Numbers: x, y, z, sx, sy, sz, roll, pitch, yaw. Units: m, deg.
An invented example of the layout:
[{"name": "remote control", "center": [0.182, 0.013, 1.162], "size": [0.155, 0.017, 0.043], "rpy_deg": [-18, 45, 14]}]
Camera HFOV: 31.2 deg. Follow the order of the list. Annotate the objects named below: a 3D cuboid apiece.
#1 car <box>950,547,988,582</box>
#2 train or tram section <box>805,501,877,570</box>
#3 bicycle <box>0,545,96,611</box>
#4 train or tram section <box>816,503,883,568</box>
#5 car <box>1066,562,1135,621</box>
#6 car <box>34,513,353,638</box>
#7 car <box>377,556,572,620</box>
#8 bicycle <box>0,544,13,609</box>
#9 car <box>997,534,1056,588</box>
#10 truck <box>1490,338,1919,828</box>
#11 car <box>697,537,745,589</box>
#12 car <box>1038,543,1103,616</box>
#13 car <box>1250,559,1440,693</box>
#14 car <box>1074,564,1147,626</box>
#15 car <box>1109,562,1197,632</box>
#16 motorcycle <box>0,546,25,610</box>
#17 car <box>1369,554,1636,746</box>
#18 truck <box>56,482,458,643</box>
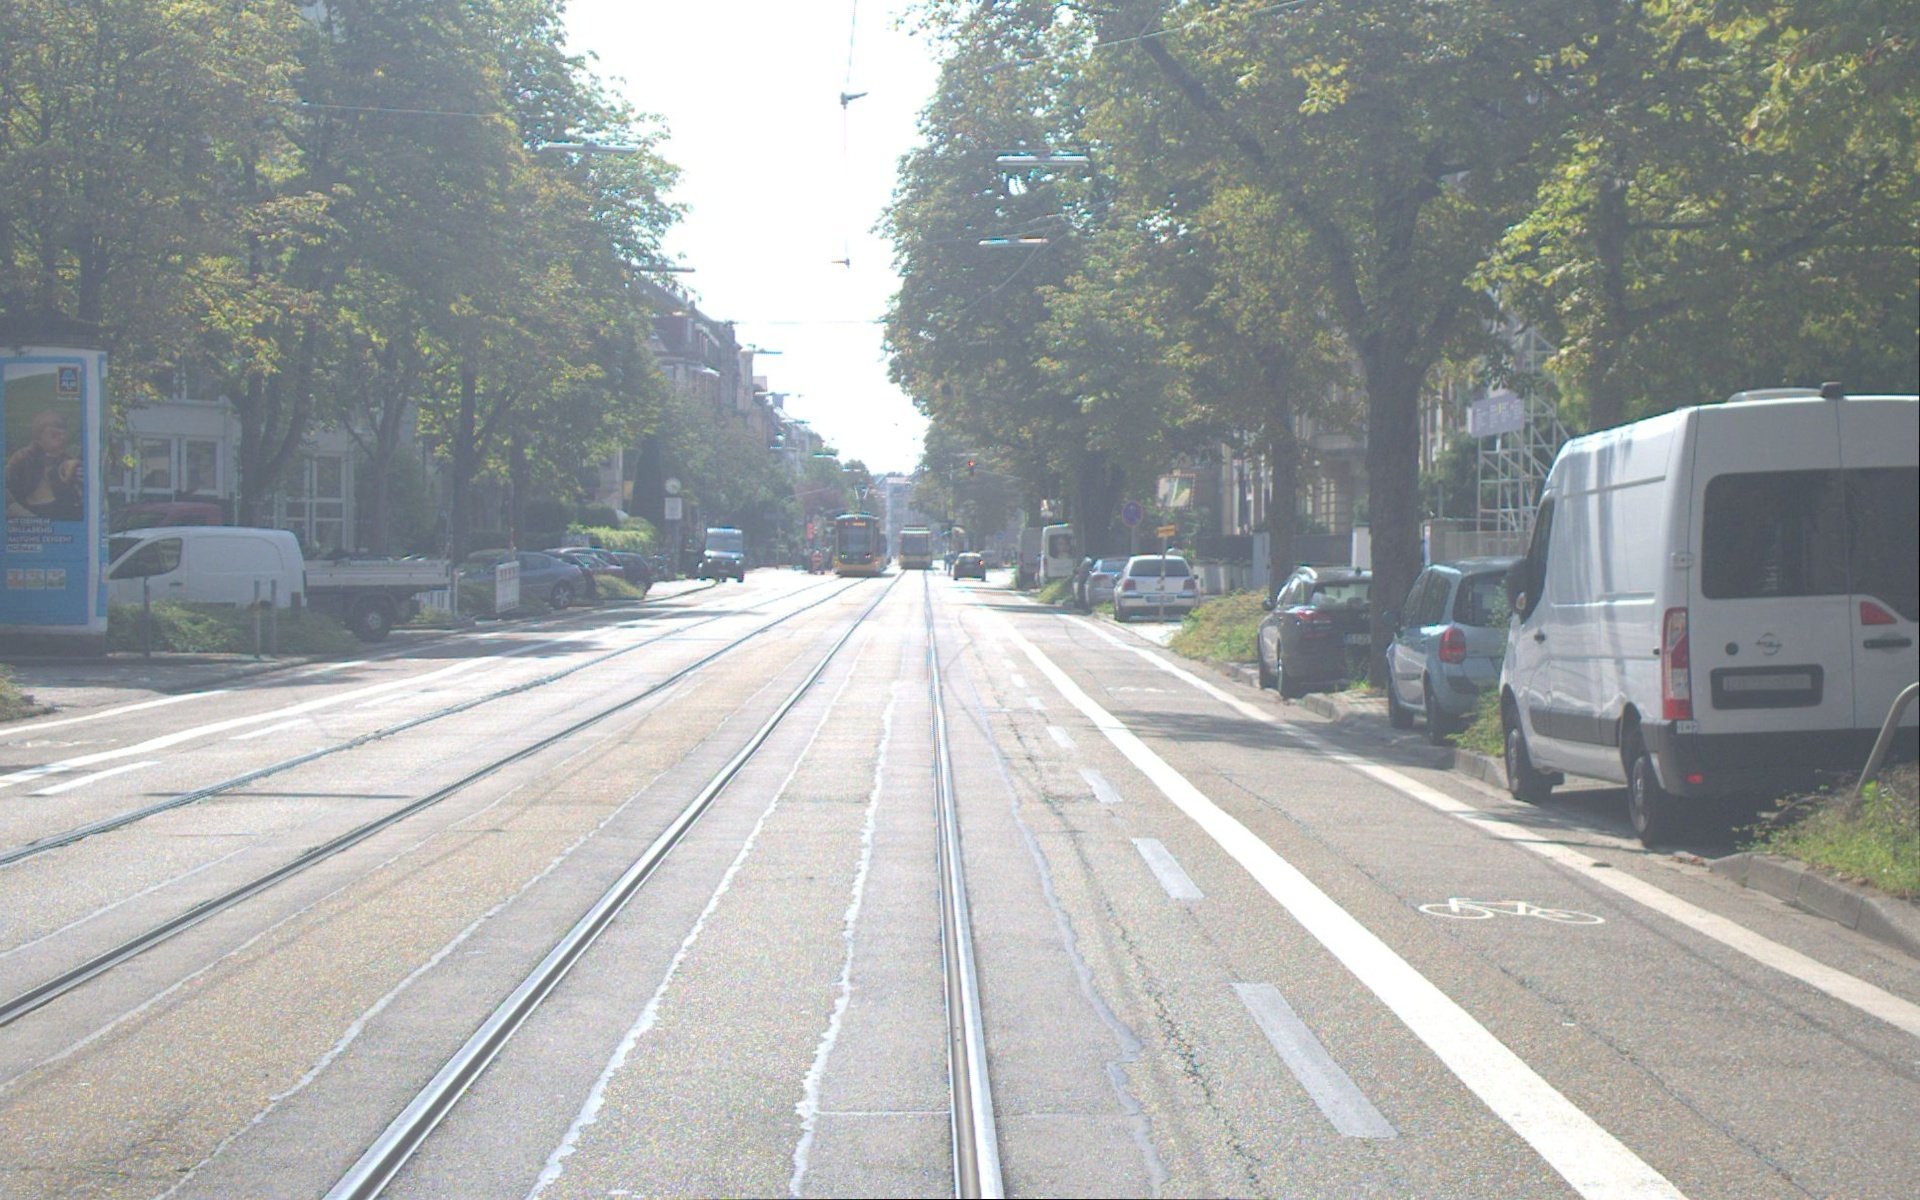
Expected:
[{"name": "car", "center": [0.463, -1.881, 182.014], "size": [1.993, 1.795, 4.000], "rpy_deg": [1, 0, 0]}, {"name": "train or tram section", "center": [-6.636, -3.641, 193.758], "size": [3.497, 3.691, 12.412], "rpy_deg": [1, 1, 0]}, {"name": "bicycle", "center": [-17.406, -0.427, 64.409], "size": [2.340, 1.165, 0.621], "rpy_deg": [2, 0, 18]}, {"name": "train or tram section", "center": [-6.550, -3.876, 206.187], "size": [3.497, 3.691, 12.412], "rpy_deg": [1, 1, 0]}, {"name": "car", "center": [3.790, -0.248, 93.540], "size": [1.794, 1.571, 4.000], "rpy_deg": [0, 1, 1]}, {"name": "car", "center": [-11.302, -0.377, 50.866], "size": [4.274, 1.766, 1.824], "rpy_deg": [-1, 1, -43]}, {"name": "car", "center": [-11.783, -0.322, 83.669], "size": [1.675, 1.447, 4.677], "rpy_deg": [1, 2, 43]}, {"name": "bicycle", "center": [-18.243, -0.464, 61.874], "size": [2.341, 1.165, 0.601], "rpy_deg": [2, 0, 20]}, {"name": "car", "center": [2.745, -1.612, 142.250], "size": [1.993, 2.226, 4.001], "rpy_deg": [0, 1, -5]}, {"name": "truck", "center": [4.726, -0.113, 21.078], "size": [1.916, 2.590, 5.593], "rpy_deg": [1, 0, -2]}, {"name": "car", "center": [-11.459, -1.787, 164.955], "size": [2.242, 2.433, 4.001], "rpy_deg": [1, 1, -4]}, {"name": "car", "center": [3.676, -0.701, 115.272], "size": [1.993, 2.357, 4.000], "rpy_deg": [1, 0, 0]}, {"name": "car", "center": [4.458, 0.261, 40.423], "size": [1.674, 1.453, 4.664], "rpy_deg": [0, 1, 0]}, {"name": "car", "center": [3.804, -0.130, 87.338], "size": [1.641, 1.506, 3.641], "rpy_deg": [1, 0, 0]}, {"name": "car", "center": [4.130, -0.081, 73.851], "size": [1.791, 1.441, 3.732], "rpy_deg": [-1, 0, 2]}, {"name": "motorcycle", "center": [-18.137, -0.434, 62.668], "size": [2.002, 1.151, 0.743], "rpy_deg": [2, 0, 20]}, {"name": "car", "center": [4.791, 0.406, 30.874], "size": [1.674, 1.574, 4.172], "rpy_deg": [-1, 0, 0]}, {"name": "truck", "center": [-11.128, -0.598, 54.734], "size": [5.951, 2.426, 2.150], "rpy_deg": [0, 1, -39]}]
